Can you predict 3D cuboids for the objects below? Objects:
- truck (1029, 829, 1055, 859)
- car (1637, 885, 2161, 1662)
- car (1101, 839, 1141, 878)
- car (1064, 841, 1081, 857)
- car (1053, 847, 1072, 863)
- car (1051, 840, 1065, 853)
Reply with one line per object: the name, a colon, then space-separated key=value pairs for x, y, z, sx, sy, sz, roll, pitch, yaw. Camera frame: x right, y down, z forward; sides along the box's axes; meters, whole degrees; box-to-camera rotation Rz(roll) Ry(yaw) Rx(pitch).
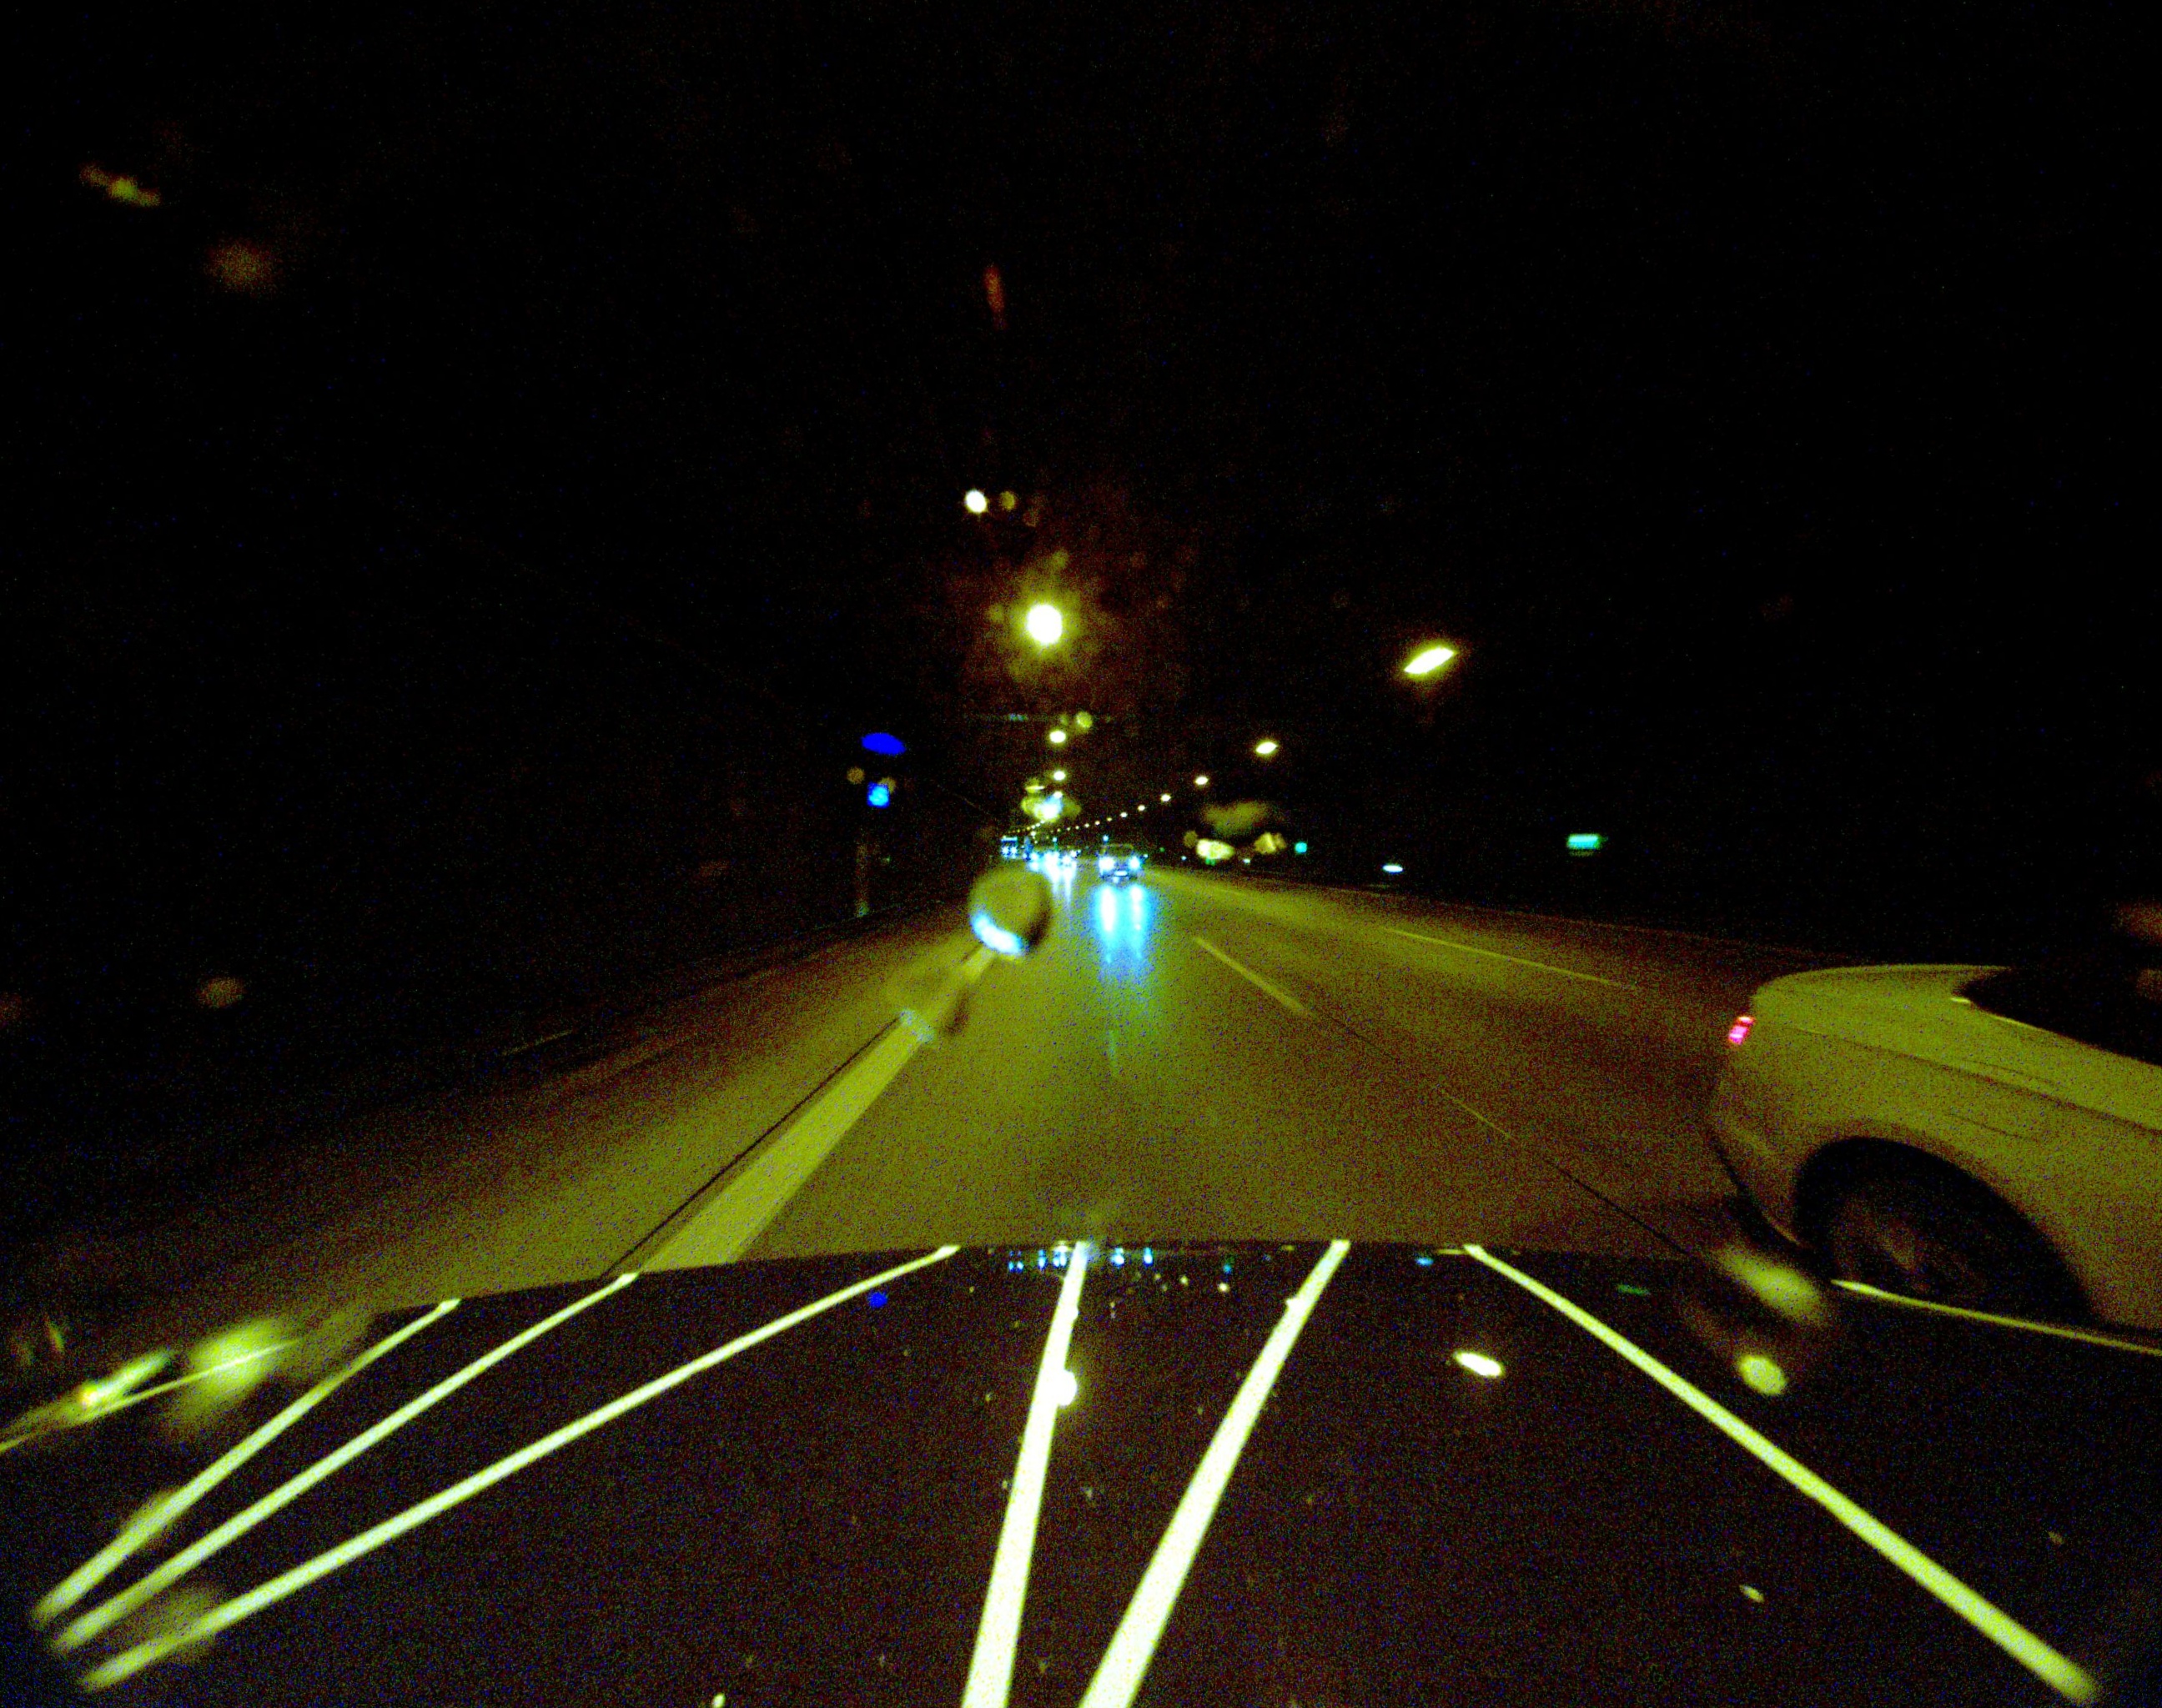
truck: x=-5.706 y=-1.560 z=110.389 sx=3.144 sy=4.137 sz=7.380 roll=-2 pitch=3 yaw=-7
car: x=2.949 y=0.886 z=0.377 sx=1.706 sy=1.411 sz=5.059 roll=-1 pitch=1 yaw=1
car: x=2.161 y=0.236 z=42.408 sx=1.998 sy=2.002 sz=4.360 roll=-2 pitch=0 yaw=0
car: x=-1.224 y=-0.781 z=109.591 sx=2.000 sy=2.003 sz=3.995 roll=-2 pitch=3 yaw=-6
car: x=-1.946 y=0.056 z=78.772 sx=1.759 sy=1.567 sz=3.998 roll=-1 pitch=0 yaw=-4
car: x=-3.870 y=-1.278 z=127.170 sx=1.999 sy=1.810 sz=3.995 roll=-2 pitch=3 yaw=-6
